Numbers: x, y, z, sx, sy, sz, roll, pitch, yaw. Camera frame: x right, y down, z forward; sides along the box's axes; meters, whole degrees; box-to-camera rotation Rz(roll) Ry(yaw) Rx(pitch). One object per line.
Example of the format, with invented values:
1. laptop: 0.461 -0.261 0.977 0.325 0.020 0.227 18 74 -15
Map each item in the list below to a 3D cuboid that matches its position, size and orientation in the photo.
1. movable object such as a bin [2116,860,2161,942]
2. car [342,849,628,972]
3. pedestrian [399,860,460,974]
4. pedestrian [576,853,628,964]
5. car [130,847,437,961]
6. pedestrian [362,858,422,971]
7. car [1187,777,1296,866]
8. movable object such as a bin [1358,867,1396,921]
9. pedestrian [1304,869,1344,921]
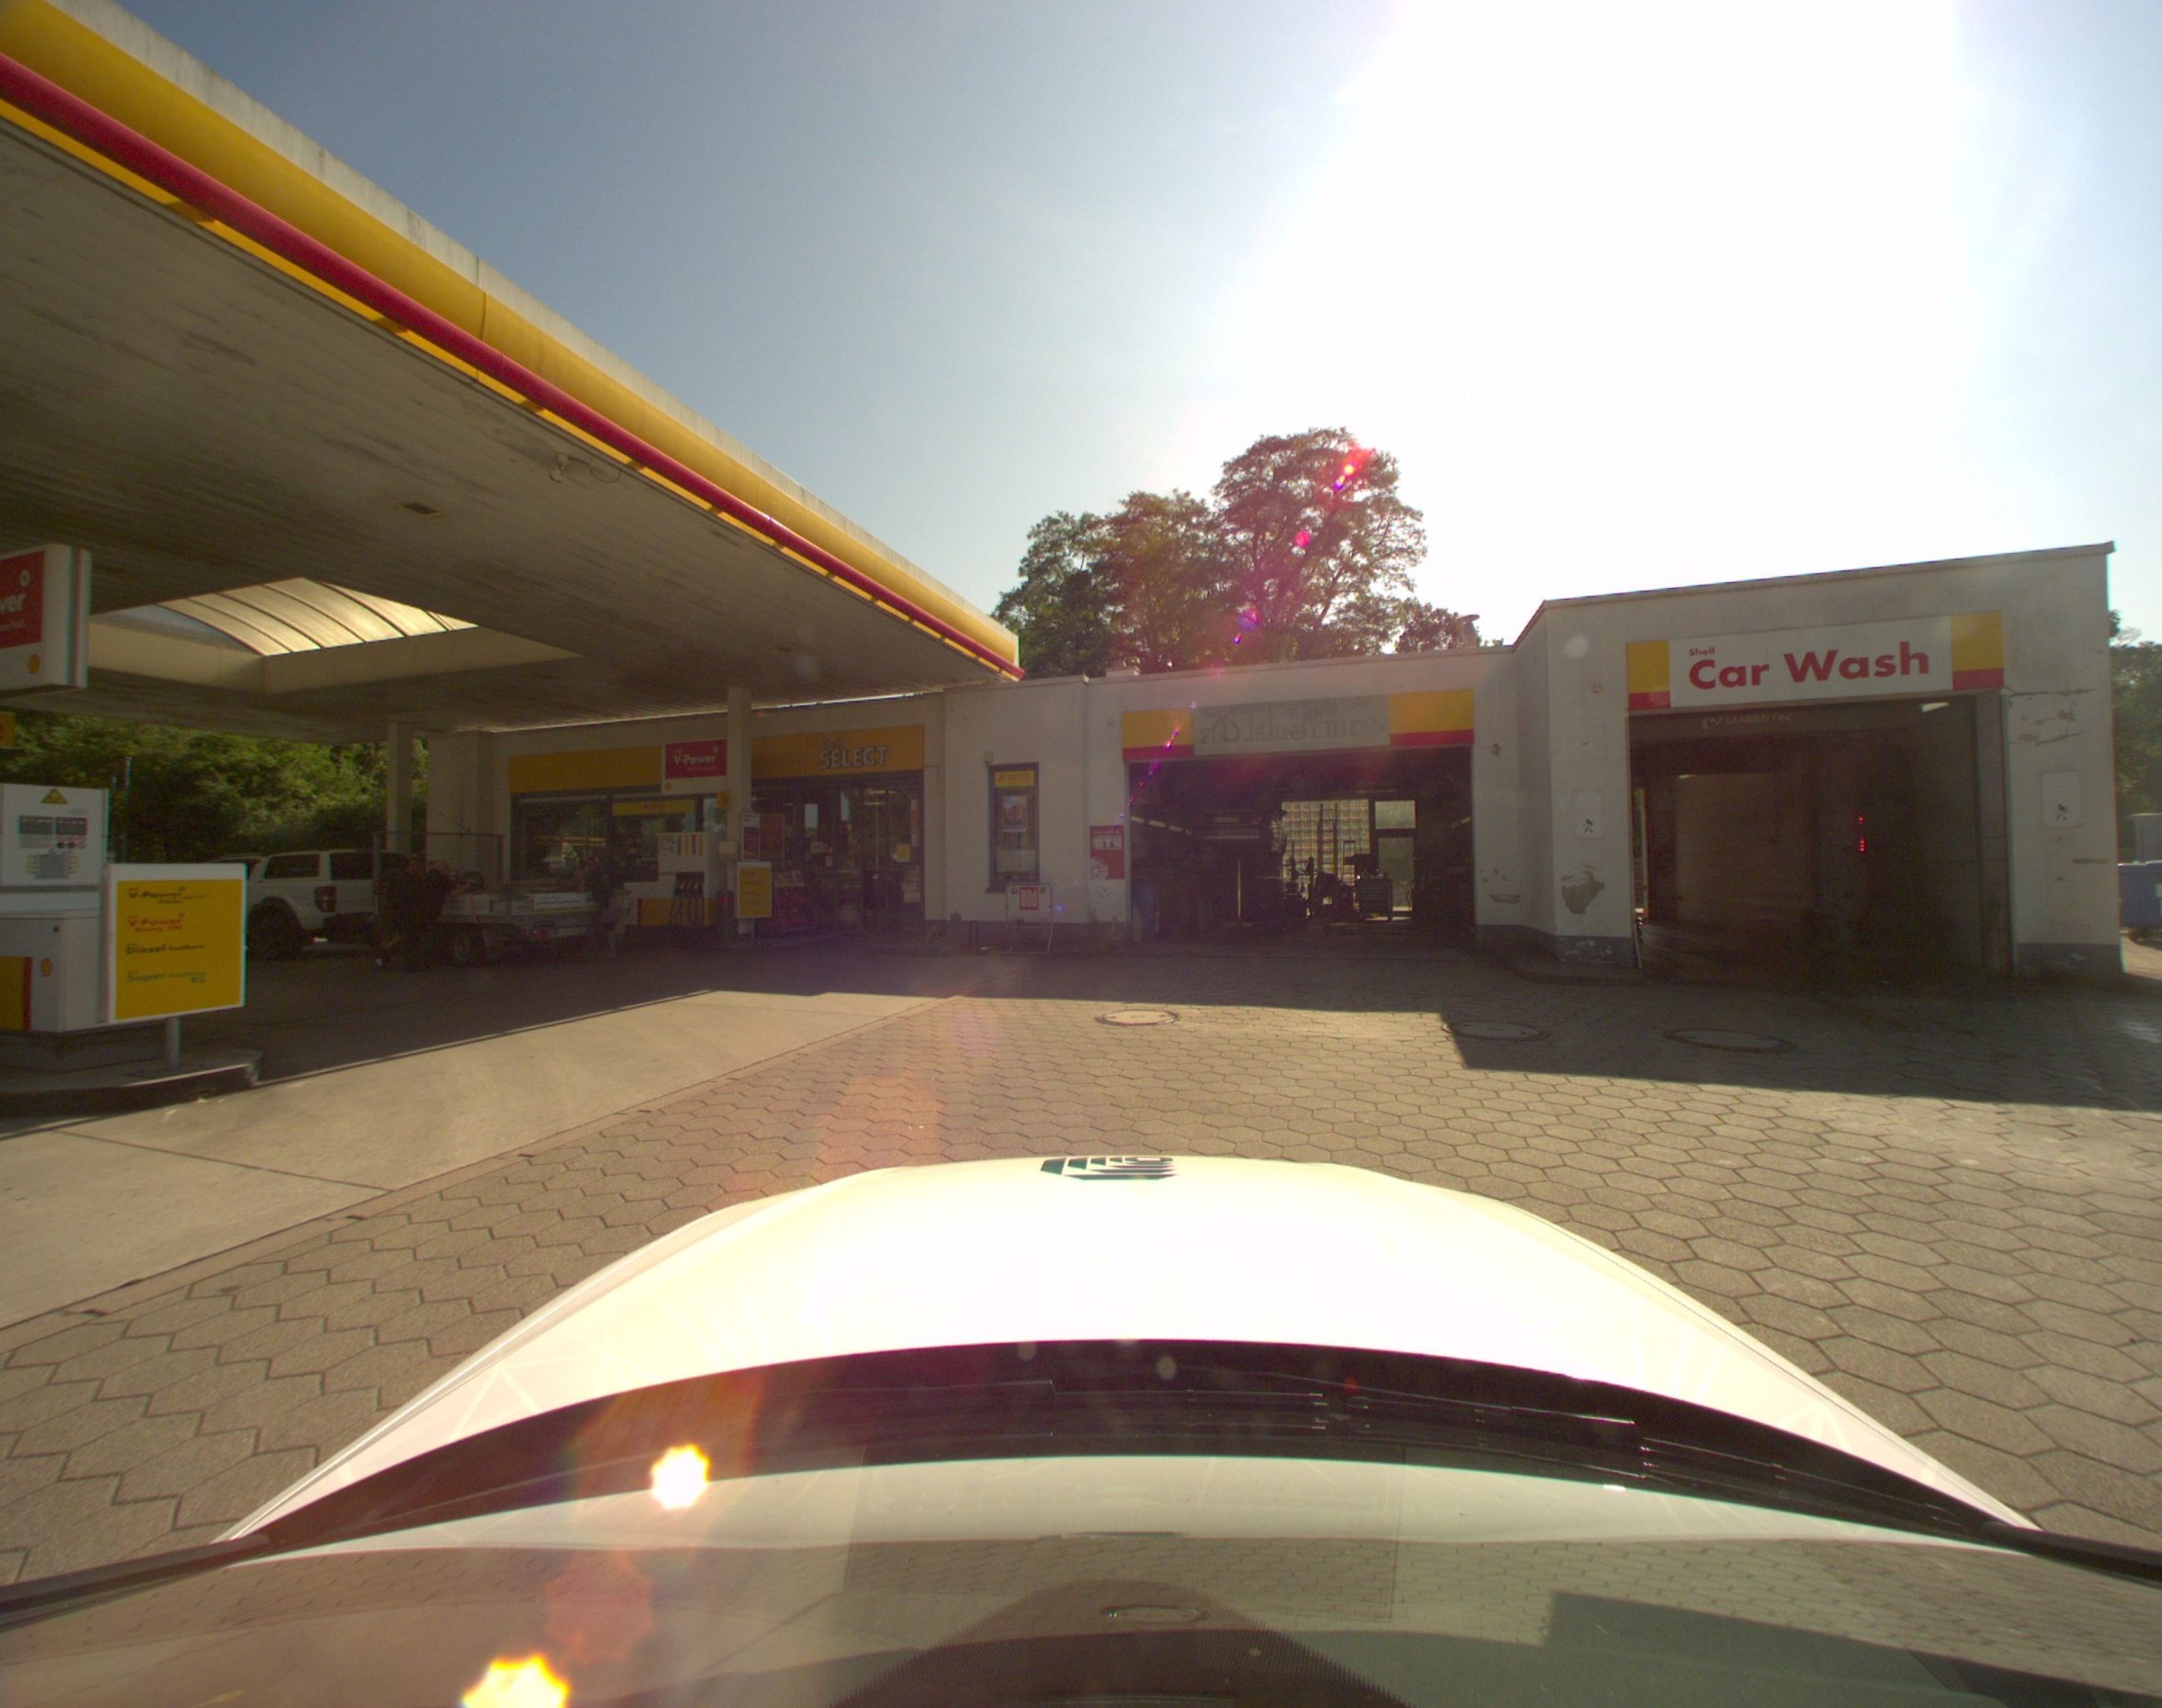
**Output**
1. movable object such as a bin: 17.942 0.749 13.246 0.852 1.325 1.223 0 -2 -29
2. car: -9.491 0.868 13.007 3.952 1.728 1.843 -2 -2 21
3. pedestrian: -9.398 0.891 11.751 0.470 1.593 0.503 -1 -2 22
4. pedestrian: -7.351 0.821 12.514 0.495 1.668 0.478 -1 -2 19
5. car: -14.385 0.872 14.740 4.728 1.838 1.865 -1 -2 16
6. pedestrian: -10.205 0.881 12.069 0.470 1.632 0.503 -1 -2 22
7. car: 3.535 -0.584 17.407 1.633 1.486 4.019 -2 -3 20
8. movable object such as a bin: 6.968 0.943 19.203 0.790 1.236 0.547 -2 -4 20
9. pedestrian: 5.765 0.979 19.299 0.856 1.198 0.746 -2 -4 17
